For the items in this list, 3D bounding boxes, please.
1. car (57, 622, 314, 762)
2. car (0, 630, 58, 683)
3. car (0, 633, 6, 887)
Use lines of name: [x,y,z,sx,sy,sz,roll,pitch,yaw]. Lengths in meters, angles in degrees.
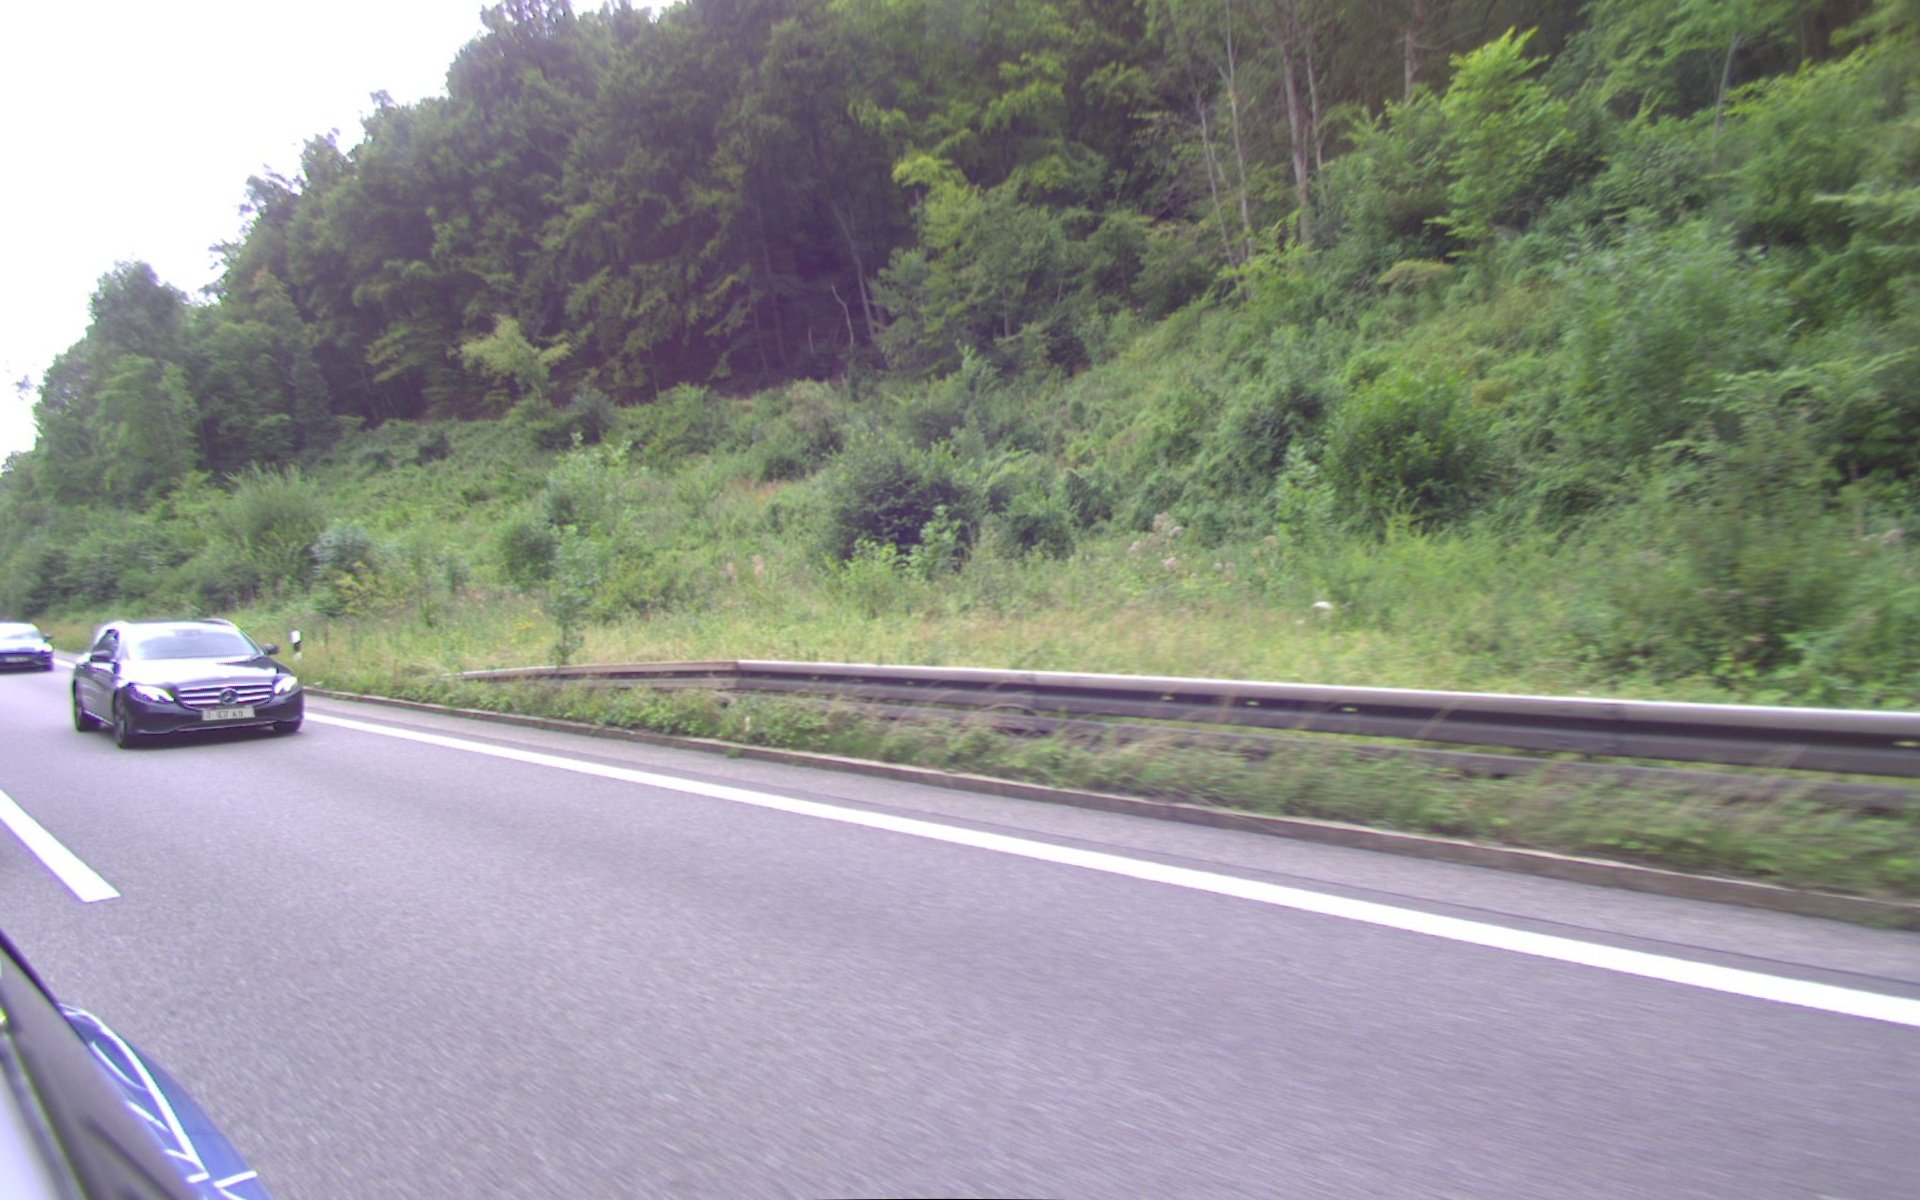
car: [-10.324,1.085,13.320,5.120,1.474,1.742,-2,-1,42]
car: [-29.000,1.668,30.671,4.551,1.480,1.818,-1,-1,39]
car: [-7.611,0.977,6.490,4.398,1.428,1.728,-3,-2,41]
